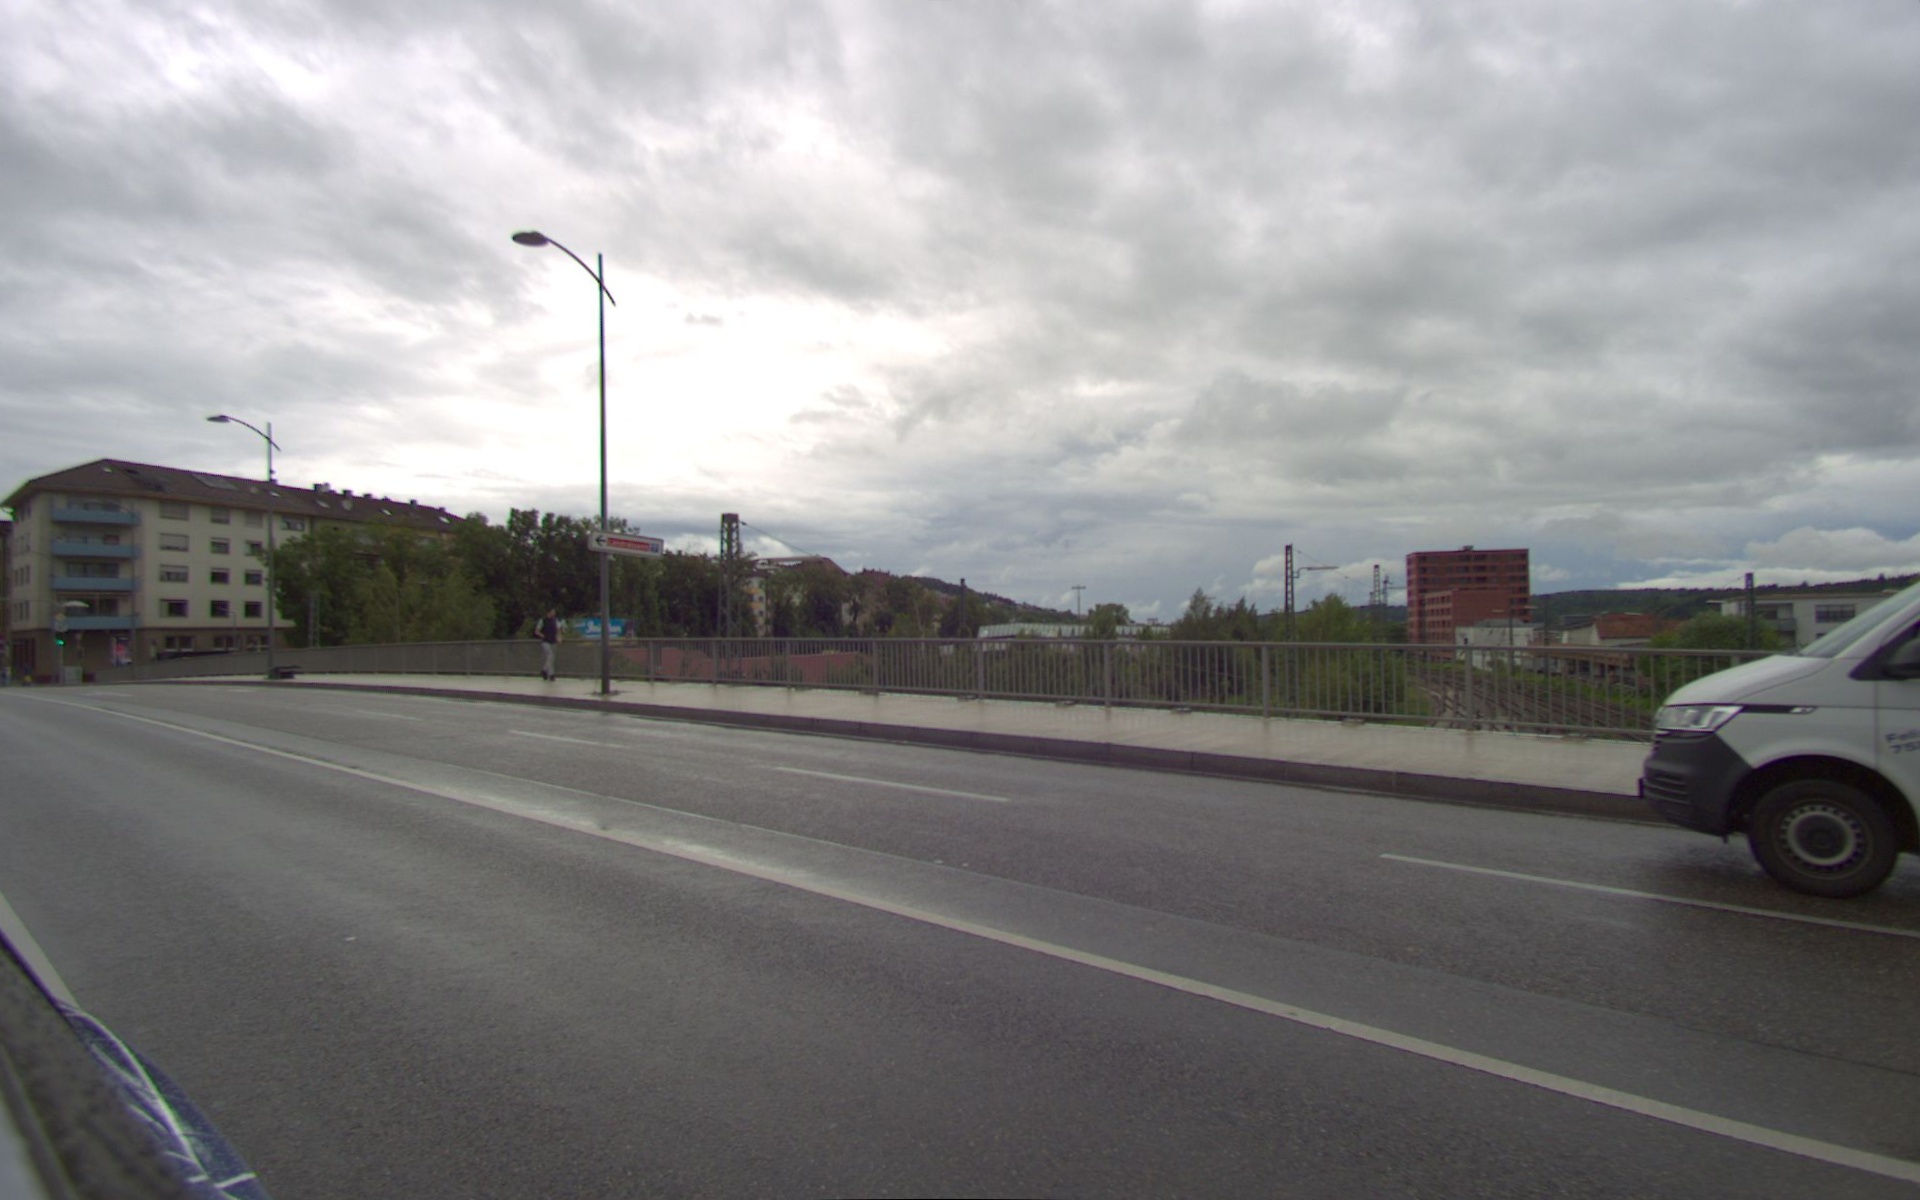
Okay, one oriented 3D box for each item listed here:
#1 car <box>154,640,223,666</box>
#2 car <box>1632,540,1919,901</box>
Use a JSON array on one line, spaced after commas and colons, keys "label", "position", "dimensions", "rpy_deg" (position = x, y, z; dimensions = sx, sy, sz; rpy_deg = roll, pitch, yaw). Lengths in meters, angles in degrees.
[{"label": "car", "position": [-67.109, 4.624, 88.111], "dimensions": [2.119, 2.029, 4.325], "rpy_deg": [-3, -2, 20]}, {"label": "car", "position": [6.454, 0.568, 5.007], "dimensions": [4.957, 1.836, 1.866], "rpy_deg": [-2, -1, 42]}]
